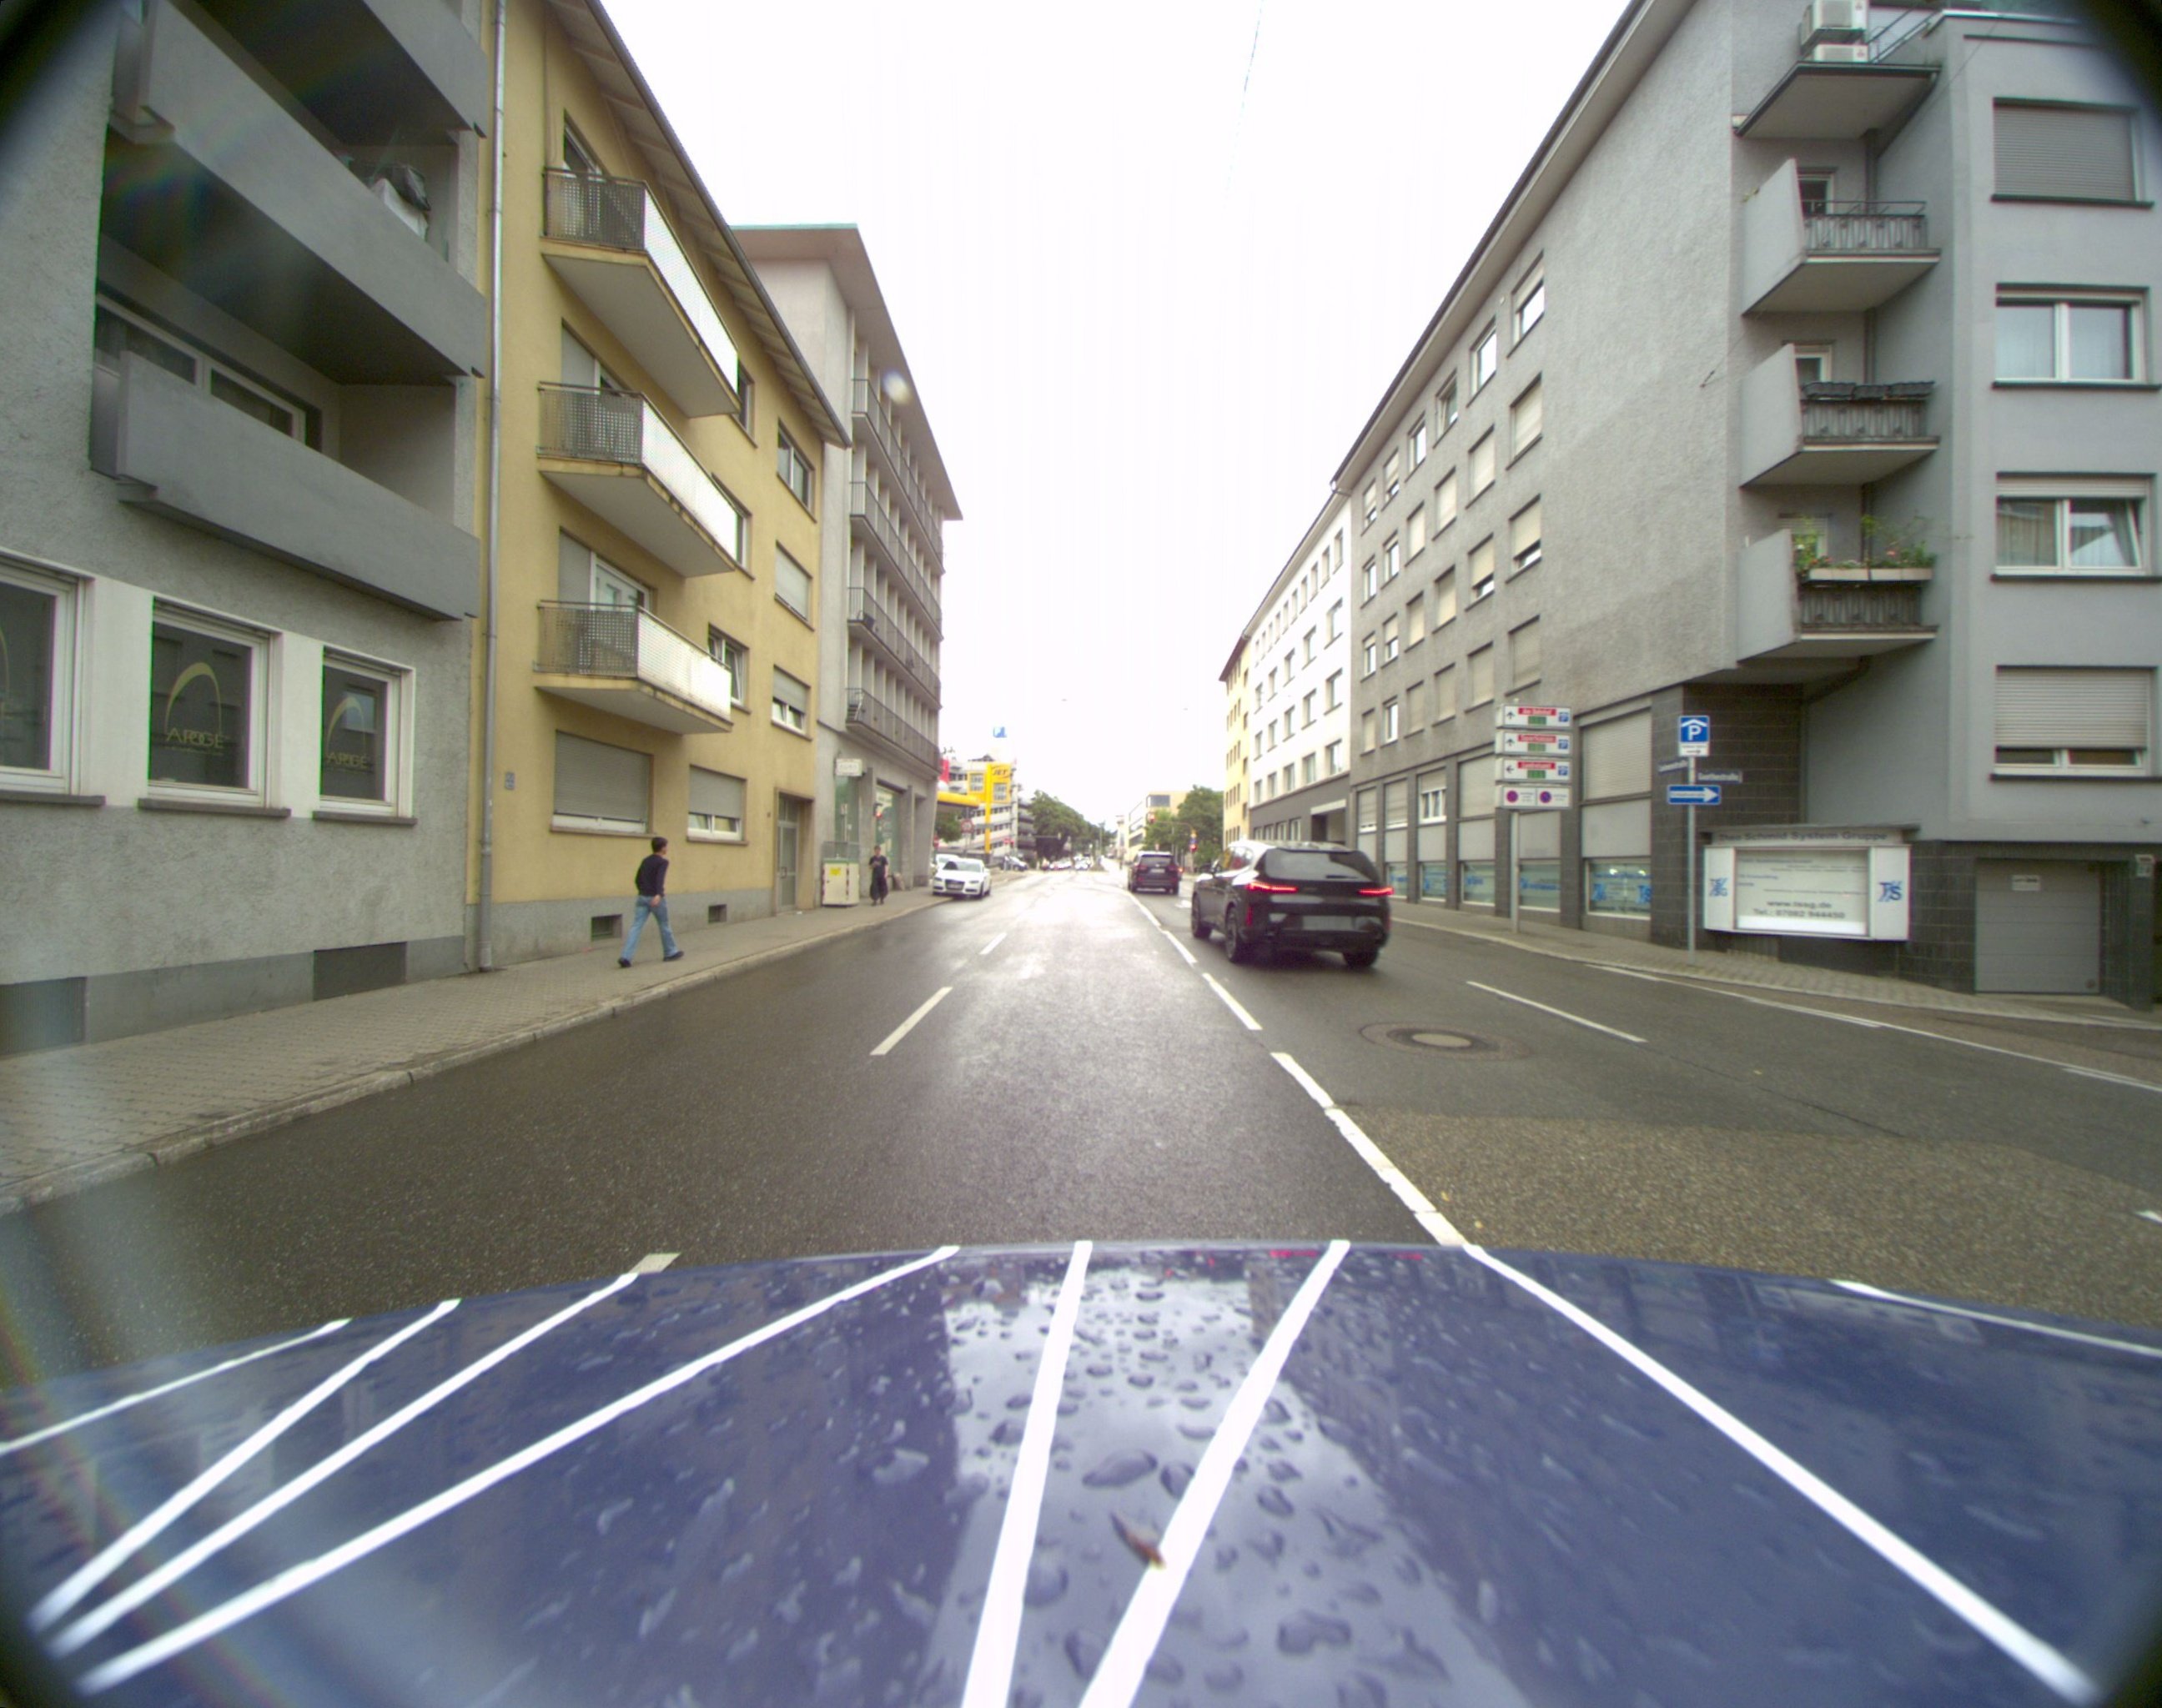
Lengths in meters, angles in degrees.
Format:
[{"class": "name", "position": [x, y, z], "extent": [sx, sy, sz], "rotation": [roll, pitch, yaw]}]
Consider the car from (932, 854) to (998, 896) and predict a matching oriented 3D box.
[{"class": "car", "position": [-4.359, 0.744, 29.069], "extent": [1.803, 1.427, 4.166], "rotation": [1, 0, 1]}]

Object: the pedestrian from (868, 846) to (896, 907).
[{"class": "pedestrian", "position": [-5.829, 0.643, 22.285], "extent": [0.679, 1.745, 0.887], "rotation": [1, 1, -7]}]

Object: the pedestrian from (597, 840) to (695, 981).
[{"class": "pedestrian", "position": [-5.821, 0.719, 10.219], "extent": [0.644, 1.768, 1.056], "rotation": [3, 1, 0]}]

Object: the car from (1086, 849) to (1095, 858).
[{"class": "car", "position": [2.208, -0.099, 180.087], "extent": [1.998, 2.002, 3.999], "rotation": [-2, 1, 1]}]

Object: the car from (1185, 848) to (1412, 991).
[{"class": "car", "position": [3.032, 0.802, 11.865], "extent": [2.132, 1.711, 4.817], "rotation": [2, 0, 0]}]

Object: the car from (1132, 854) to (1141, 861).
[{"class": "car", "position": [13.525, 0.849, 185.559], "extent": [1.998, 1.683, 4.000], "rotation": [-2, 1, 2]}]

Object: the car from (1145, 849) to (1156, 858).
[{"class": "car", "position": [15.417, -0.200, 168.457], "extent": [1.998, 1.863, 3.999], "rotation": [-2, 1, 0]}]

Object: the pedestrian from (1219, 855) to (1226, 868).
[{"class": "pedestrian", "position": [13.017, 0.683, 69.932], "extent": [0.582, 1.143, 0.407], "rotation": [3, 1, 2]}]

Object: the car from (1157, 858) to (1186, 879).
[{"class": "car", "position": [7.375, 1.165, 62.238], "extent": [1.883, 1.580, 4.373], "rotation": [0, 0, 1]}]

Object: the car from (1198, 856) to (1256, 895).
[{"class": "car", "position": [6.308, 0.897, 33.229], "extent": [1.707, 1.498, 4.159], "rotation": [3, 0, 0]}]

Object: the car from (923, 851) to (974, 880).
[{"class": "car", "position": [-7.421, 0.623, 42.358], "extent": [1.774, 1.465, 3.992], "rotation": [-3, 0, -25]}]

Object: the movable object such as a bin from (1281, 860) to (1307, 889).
[{"class": "movable object such as a bin", "position": [10.405, 0.996, 37.188], "extent": [0.946, 1.325, 1.096], "rotation": [-3, 1, 1]}]

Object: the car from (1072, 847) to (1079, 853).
[{"class": "car", "position": [-1.874, -1.336, 257.732], "extent": [1.998, 1.827, 3.999], "rotation": [-2, 1, 1]}]

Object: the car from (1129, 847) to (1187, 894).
[{"class": "car", "position": [3.074, 0.605, 31.069], "extent": [1.841, 1.717, 4.474], "rotation": [3, 0, 0]}]

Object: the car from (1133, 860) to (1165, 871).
[{"class": "car", "position": [9.295, 1.613, 104.368], "extent": [4.006, 1.499, 1.734], "rotation": [1, 1, -26]}]

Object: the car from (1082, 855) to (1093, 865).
[{"class": "car", "position": [1.288, 1.204, 153.070], "extent": [1.999, 1.736, 3.998], "rotation": [-2, 1, -2]}]

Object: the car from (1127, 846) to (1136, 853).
[{"class": "car", "position": [12.863, -1.102, 192.896], "extent": [1.998, 1.683, 4.000], "rotation": [-2, 1, 2]}]

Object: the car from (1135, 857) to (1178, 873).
[{"class": "car", "position": [7.201, 1.025, 73.041], "extent": [3.996, 1.499, 1.738], "rotation": [1, 1, 2]}]

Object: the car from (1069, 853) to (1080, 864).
[{"class": "car", "position": [-1.235, 0.851, 148.270], "extent": [1.998, 2.002, 3.999], "rotation": [-2, 1, 0]}]

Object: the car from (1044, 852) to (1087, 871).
[{"class": "car", "position": [-1.544, 0.723, 75.915], "extent": [3.994, 1.751, 2.001], "rotation": [1, 1, 9]}]
